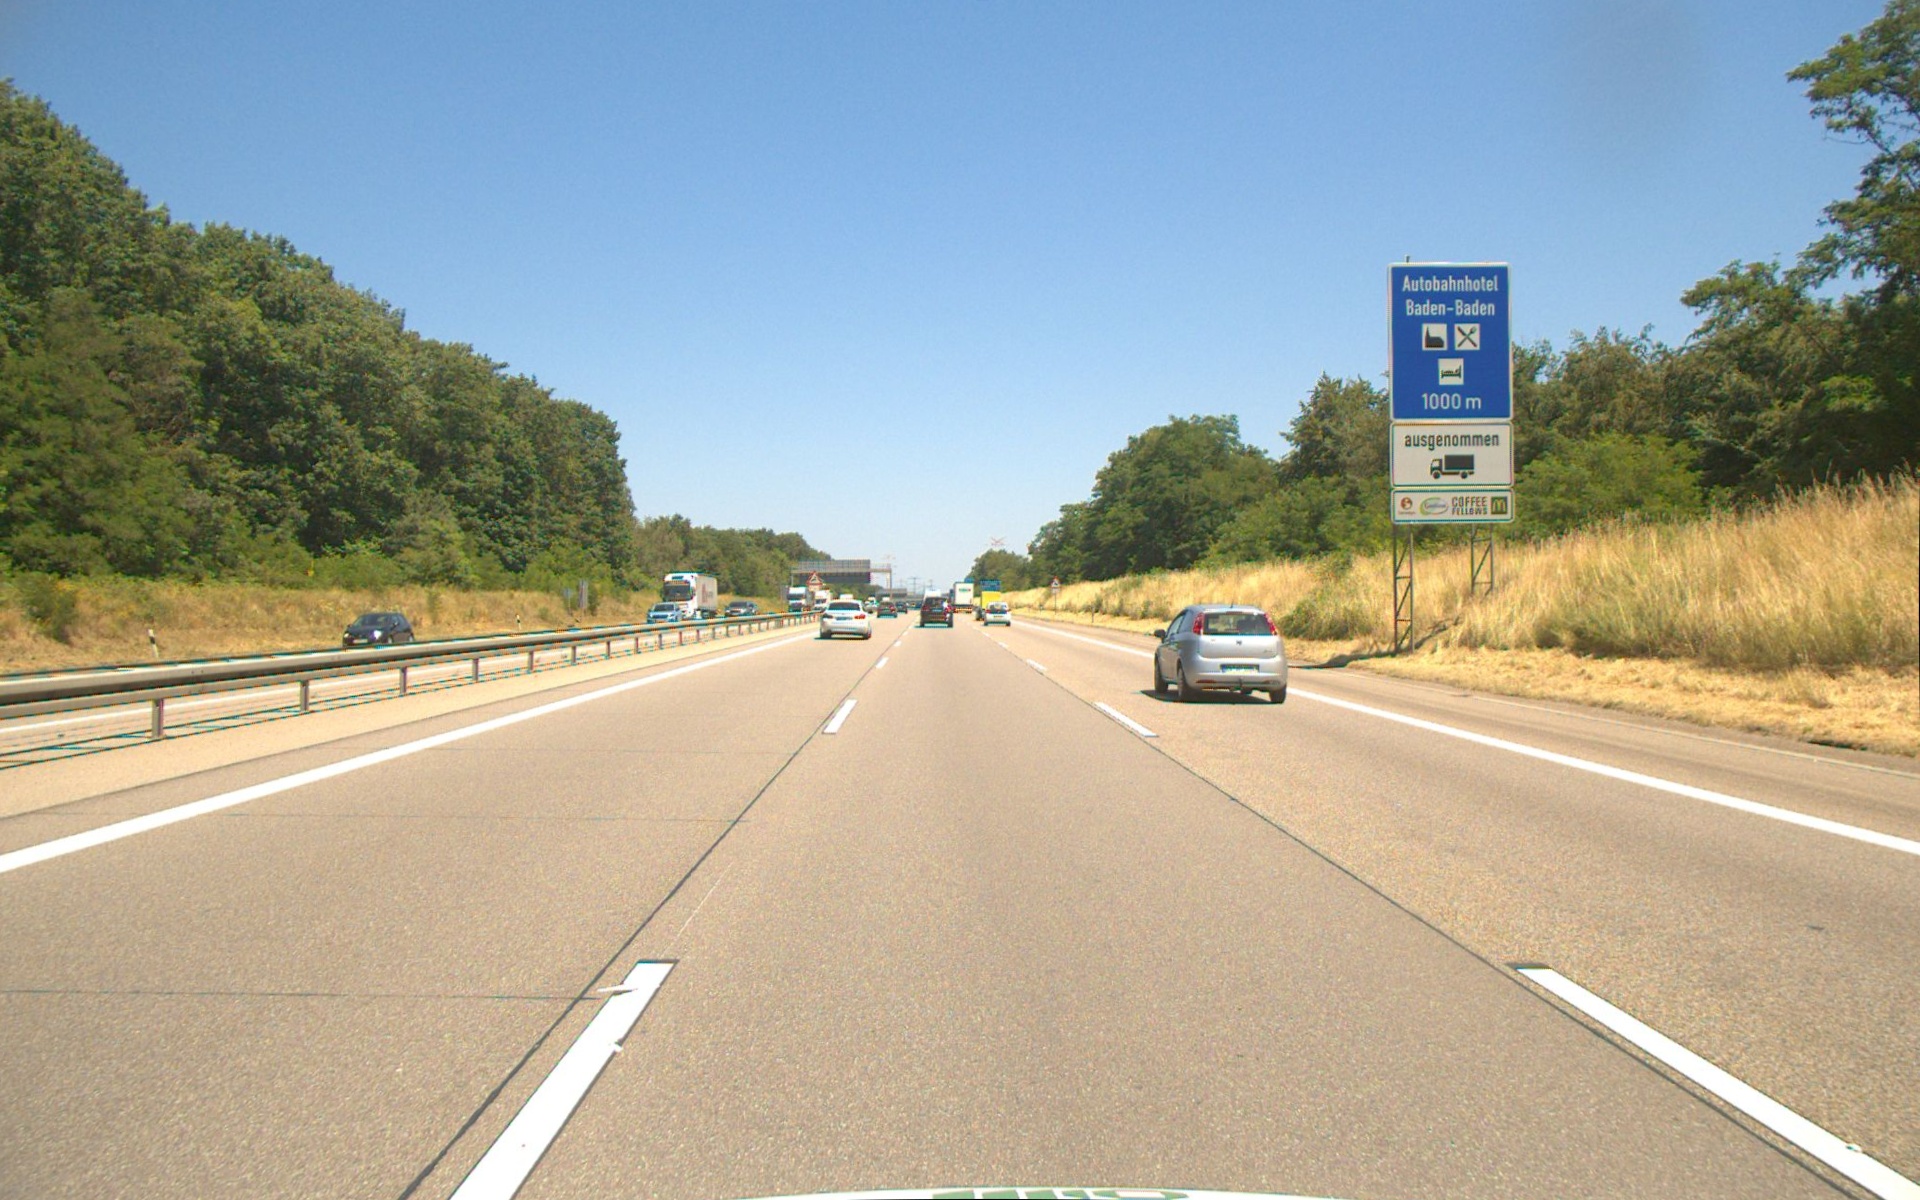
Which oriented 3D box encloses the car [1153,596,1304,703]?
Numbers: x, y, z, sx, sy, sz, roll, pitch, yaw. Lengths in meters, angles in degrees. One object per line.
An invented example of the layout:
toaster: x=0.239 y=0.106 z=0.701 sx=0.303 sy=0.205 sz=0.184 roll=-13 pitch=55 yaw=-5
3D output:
car: x=4.215 y=0.731 z=26.519 sx=1.685 sy=1.517 sz=3.736 roll=1 pitch=1 yaw=-2

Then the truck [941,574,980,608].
truck: x=0.004 y=-1.220 z=225.356 sx=3.917 sy=4.390 sz=9.864 roll=2 pitch=0 yaw=-8

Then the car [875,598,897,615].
car: x=-6.590 y=0.548 z=147.300 sx=1.795 sy=1.456 sz=4.998 roll=1 pitch=1 yaw=-1

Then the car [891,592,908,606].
car: x=-7.263 y=-0.146 z=197.914 sx=1.837 sy=1.608 sz=3.928 roll=0 pitch=1 yaw=0

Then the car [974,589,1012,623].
car: x=2.589 y=0.478 z=132.102 sx=2.613 sy=2.680 sz=6.109 roll=1 pitch=0 yaw=-3

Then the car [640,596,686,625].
car: x=-17.964 y=0.624 z=100.218 sx=1.953 sy=1.595 sz=4.527 roll=-3 pitch=0 yaw=-1

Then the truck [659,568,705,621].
truck: x=-22.836 y=-0.449 z=136.177 sx=2.846 sy=4.138 sz=5.651 roll=-2 pitch=0 yaw=-2

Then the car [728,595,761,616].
car: x=-17.161 y=0.404 z=132.061 sx=1.953 sy=1.595 sz=5.189 roll=-3 pitch=0 yaw=-1

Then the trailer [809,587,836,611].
trailer: x=-20.585 y=-0.210 z=248.211 sx=3.365 sy=3.403 sz=12.019 roll=-1 pitch=0 yaw=-1

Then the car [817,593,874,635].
car: x=-4.341 y=0.507 z=63.539 sx=1.924 sy=1.530 sz=5.403 roll=0 pitch=0 yaw=-1

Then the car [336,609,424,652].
car: x=-21.213 y=1.079 z=60.645 sx=1.777 sy=1.420 sz=4.110 roll=-3 pitch=0 yaw=-1

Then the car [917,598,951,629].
car: x=-1.502 y=0.757 z=95.117 sx=1.795 sy=1.701 sz=3.998 roll=1 pitch=0 yaw=-3

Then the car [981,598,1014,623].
car: x=2.305 y=0.629 z=103.659 sx=1.785 sy=1.518 sz=3.734 roll=1 pitch=0 yaw=-3

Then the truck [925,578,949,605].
truck: x=-2.613 y=-0.947 z=186.687 sx=2.380 sy=2.935 sz=6.201 roll=1 pitch=0 yaw=-3
